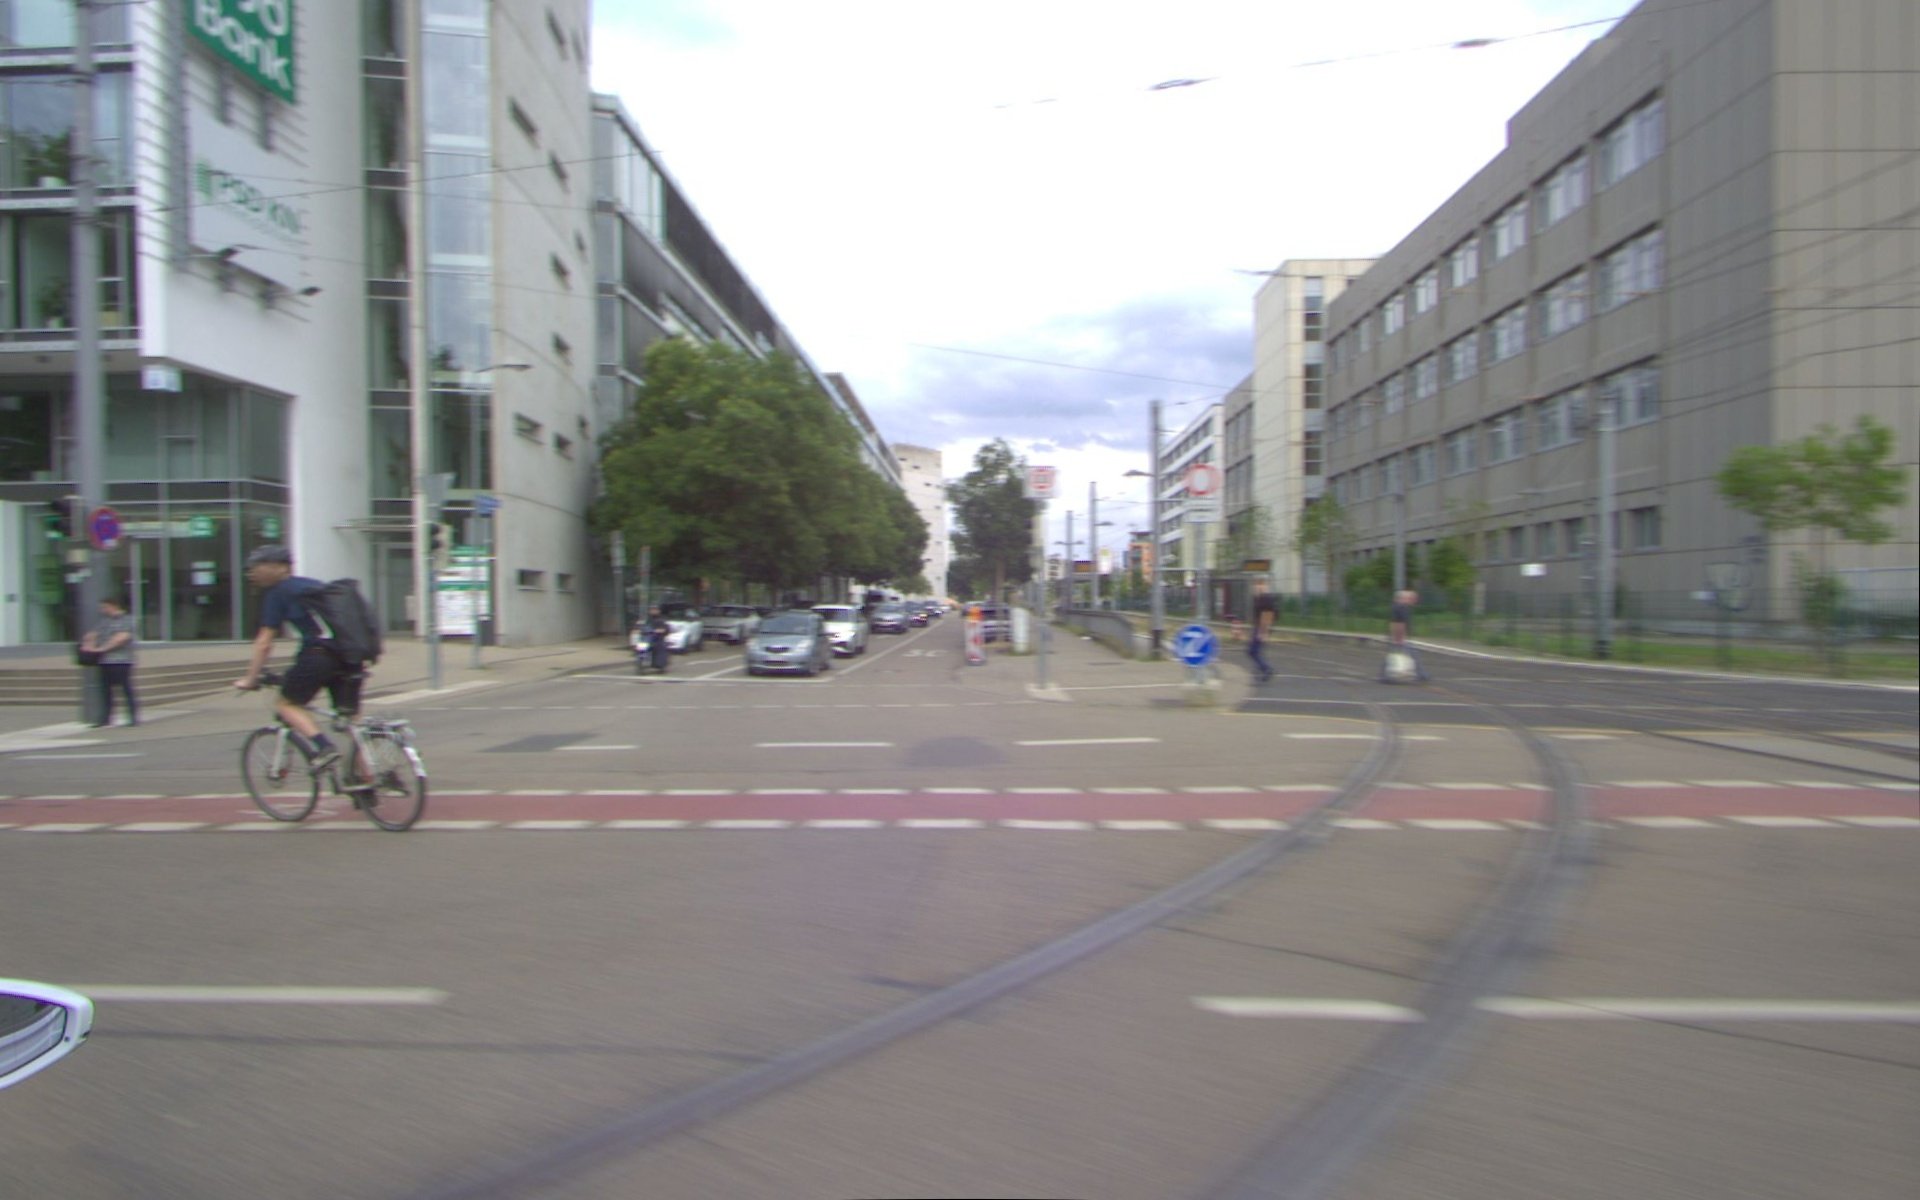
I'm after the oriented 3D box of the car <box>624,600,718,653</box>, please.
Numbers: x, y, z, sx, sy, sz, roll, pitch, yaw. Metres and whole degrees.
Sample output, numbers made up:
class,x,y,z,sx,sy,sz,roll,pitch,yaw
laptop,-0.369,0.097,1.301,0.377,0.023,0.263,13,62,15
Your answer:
class,x,y,z,sx,sy,sz,roll,pitch,yaw
car,-9.403,0.826,32.893,1.800,1.577,4.216,1,0,1

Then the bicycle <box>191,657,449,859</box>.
class,x,y,z,sx,sy,sz,roll,pitch,yaw
bicycle,-4.411,0.982,6.835,2.104,1.101,0.797,-1,1,37

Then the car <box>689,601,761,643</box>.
class,x,y,z,sx,sy,sz,roll,pitch,yaw
car,-9.335,0.831,40.066,1.800,1.577,4.216,1,0,1

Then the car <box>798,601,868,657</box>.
class,x,y,z,sx,sy,sz,roll,pitch,yaw
car,-4.095,0.881,32.775,1.687,1.682,4.132,1,0,1

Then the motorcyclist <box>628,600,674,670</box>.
class,x,y,z,sx,sy,sz,roll,pitch,yaw
motorcyclist,-7.339,0.814,23.825,0.806,1.638,0.882,0,1,1

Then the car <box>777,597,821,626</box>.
class,x,y,z,sx,sy,sz,roll,pitch,yaw
car,-9.357,0.650,58.590,1.954,1.577,4.511,1,0,-2

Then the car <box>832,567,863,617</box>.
class,x,y,z,sx,sy,sz,roll,pitch,yaw
car,-8.665,-0.615,77.336,1.954,3.685,4.511,1,0,-2

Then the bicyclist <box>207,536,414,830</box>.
class,x,y,z,sx,sy,sz,roll,pitch,yaw
bicyclist,-4.447,0.516,6.851,1.217,1.809,0.793,0,1,37

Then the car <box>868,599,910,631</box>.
class,x,y,z,sx,sy,sz,roll,pitch,yaw
car,-3.774,0.780,53.763,1.872,1.606,4.181,1,0,1

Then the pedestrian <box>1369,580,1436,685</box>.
class,x,y,z,sx,sy,sz,roll,pitch,yaw
pedestrian,8.116,0.589,18.395,0.974,1.880,0.900,-1,1,15

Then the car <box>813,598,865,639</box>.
class,x,y,z,sx,sy,sz,roll,pitch,yaw
car,-5.245,0.758,43.753,1.687,1.682,4.132,1,0,1

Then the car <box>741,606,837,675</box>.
class,x,y,z,sx,sy,sz,roll,pitch,yaw
car,-4.227,0.956,25.304,1.640,1.526,4.234,1,0,1

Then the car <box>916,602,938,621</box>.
class,x,y,z,sx,sy,sz,roll,pitch,yaw
car,-2.902,1.026,89.250,1.761,1.606,4.141,1,0,1

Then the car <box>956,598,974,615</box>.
class,x,y,z,sx,sy,sz,roll,pitch,yaw
car,0.525,0.654,99.065,1.681,1.606,4.109,1,0,1

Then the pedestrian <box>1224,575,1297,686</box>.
class,x,y,z,sx,sy,sz,roll,pitch,yaw
pedestrian,5.319,0.533,17.804,1.068,1.923,0.901,-1,1,6

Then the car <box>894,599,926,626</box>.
class,x,y,z,sx,sy,sz,roll,pitch,yaw
car,-3.135,0.789,64.003,1.761,1.606,4.141,1,0,1

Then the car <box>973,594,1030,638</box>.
class,x,y,z,sx,sy,sz,roll,pitch,yaw
car,1.578,0.600,39.726,1.849,1.650,4.086,-1,0,-3

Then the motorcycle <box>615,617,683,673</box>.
class,x,y,z,sx,sy,sz,roll,pitch,yaw
motorcycle,-7.346,1.032,23.774,0.812,1.215,2.502,0,0,1

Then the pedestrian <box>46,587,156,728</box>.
class,x,y,z,sx,sy,sz,roll,pitch,yaw
pedestrian,-11.862,0.778,13.851,0.820,1.890,0.765,-1,1,9

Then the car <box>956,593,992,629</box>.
class,x,y,z,sx,sy,sz,roll,pitch,yaw
car,0.772,0.633,58.405,1.756,2.014,4.120,-1,0,-3
